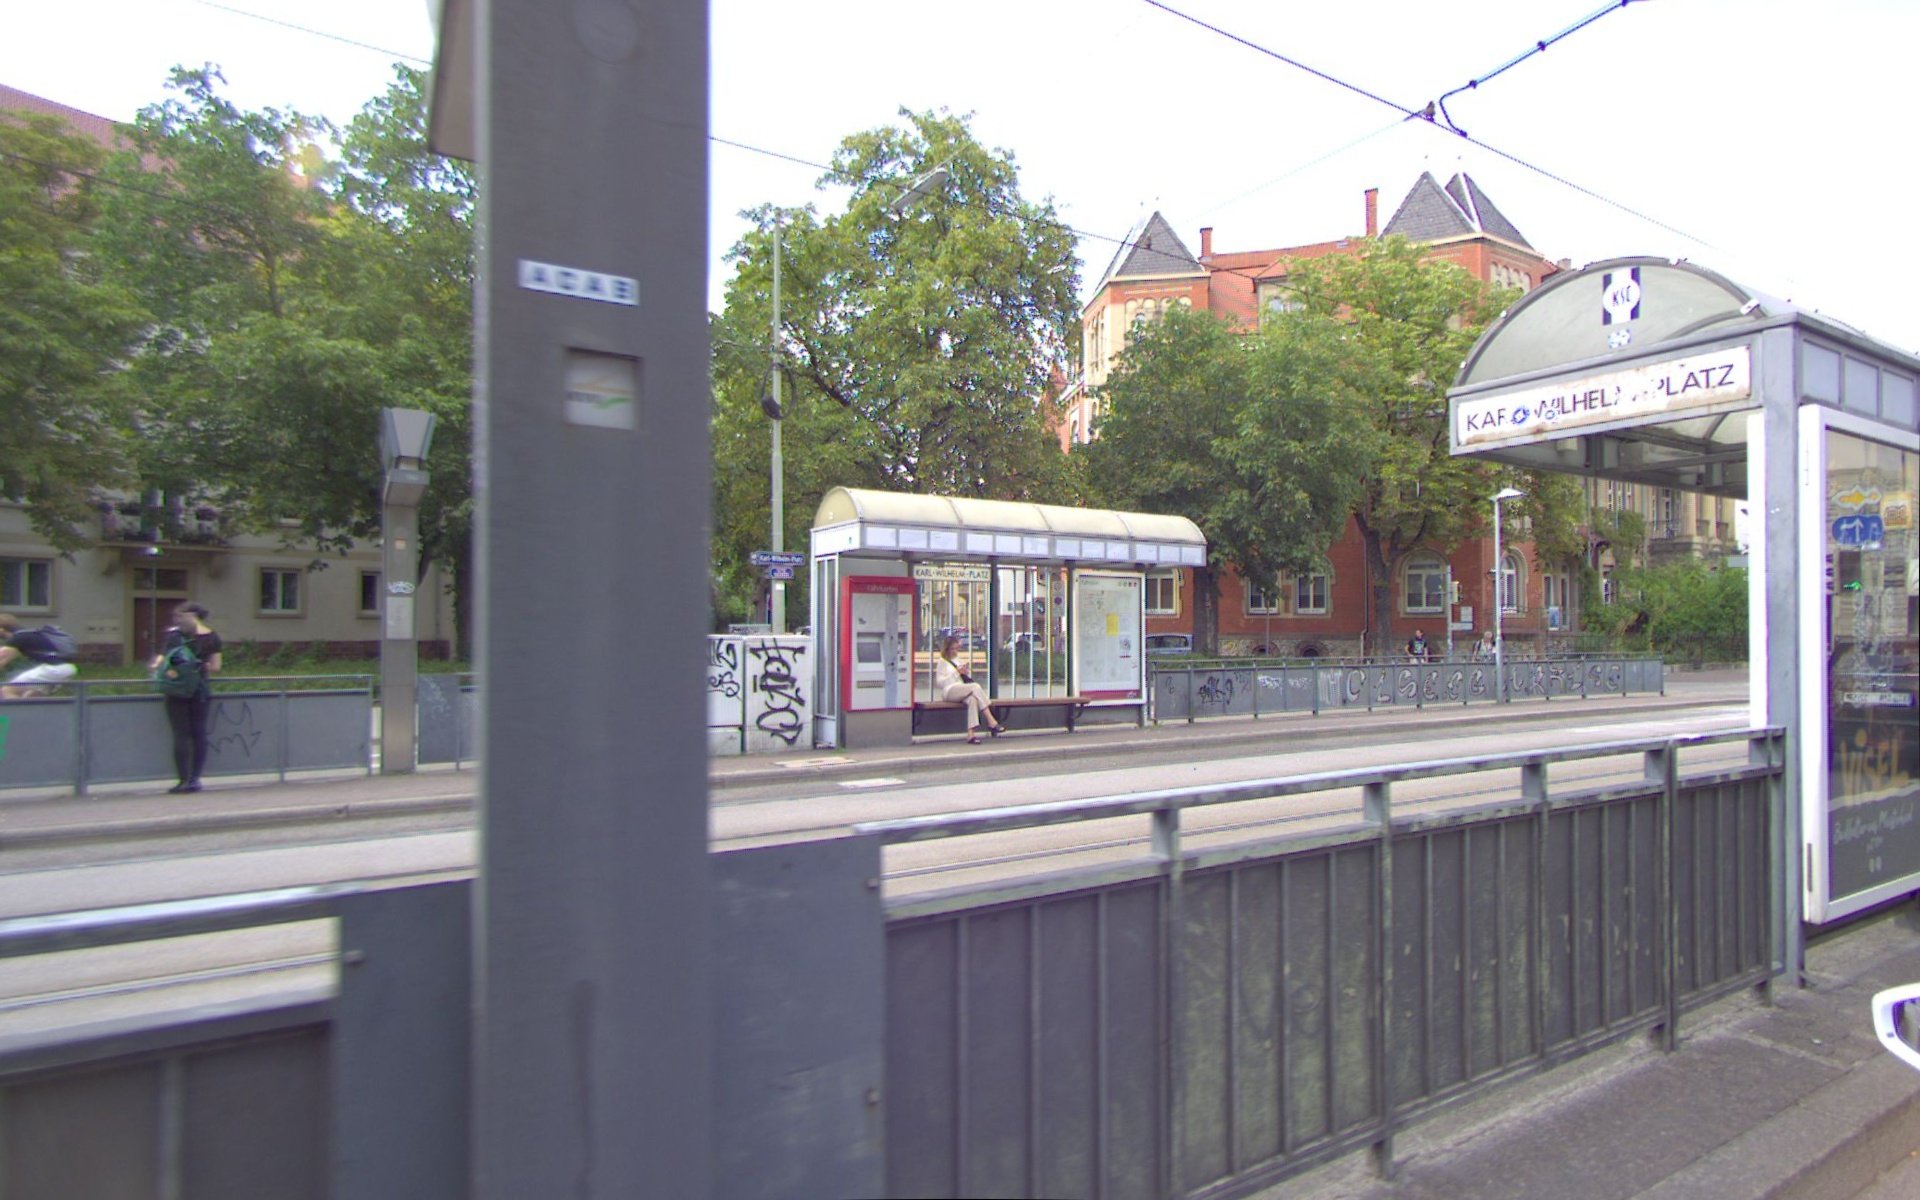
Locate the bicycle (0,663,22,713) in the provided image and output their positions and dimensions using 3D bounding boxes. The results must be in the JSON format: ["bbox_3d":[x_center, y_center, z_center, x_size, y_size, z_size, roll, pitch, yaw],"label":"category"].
[{"bbox_3d":[-19.006,1.702,19.131,0.598,0.949,1.573,-1,-2,31],"label":"bicycle"}]

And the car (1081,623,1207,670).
[{"bbox_3d":[6.586,1.626,35.816,4.260,1.599,2.213,0,-2,15],"label":"car"}]

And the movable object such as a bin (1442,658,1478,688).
[{"bbox_3d":[14.450,2.103,29.042,0.616,0.810,0.723,1,-2,-36],"label":"movable object such as a bin"}]

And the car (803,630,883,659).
[{"bbox_3d":[-5.913,2.219,50.712,3.927,1.413,1.813,0,-2,-9],"label":"car"}]

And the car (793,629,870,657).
[{"bbox_3d":[-6.772,2.263,52.954,3.927,1.413,1.813,0,-2,-9],"label":"car"}]

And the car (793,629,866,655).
[{"bbox_3d":[-7.210,2.315,55.470,3.927,1.413,1.813,0,-2,-9],"label":"car"}]

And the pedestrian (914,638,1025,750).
[{"bbox_3d":[0.111,1.140,12.586,0.976,1.311,1.051,1,-2,-36],"label":"pedestrian"}]

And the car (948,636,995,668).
[{"bbox_3d":[0.520,2.559,49.995,1.782,1.497,3.996,0,-2,-8],"label":"car"}]

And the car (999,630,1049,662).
[{"bbox_3d":[3.169,2.278,50.302,1.782,1.497,3.996,0,-2,-8],"label":"car"}]

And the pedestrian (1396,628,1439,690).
[{"bbox_3d":[12.921,1.644,28.379,0.725,1.725,0.827,1,-2,-36],"label":"pedestrian"}]

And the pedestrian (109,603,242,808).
[{"bbox_3d":[-6.714,0.861,8.649,0.835,1.642,0.846,1,-2,-36],"label":"pedestrian"}]

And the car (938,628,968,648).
[{"bbox_3d":[-0.543,2.797,73.656,1.782,1.413,3.996,0,-2,-8],"label":"car"}]

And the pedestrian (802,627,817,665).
[{"bbox_3d":[-7.058,2.147,47.056,0.671,1.777,0.731,0,-1,-10],"label":"pedestrian"}]

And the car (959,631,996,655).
[{"bbox_3d":[1.073,2.699,63.346,1.782,1.413,3.996,0,-2,-8],"label":"car"}]

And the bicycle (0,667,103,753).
[{"bbox_3d":[-11.260,1.301,11.926,1.532,0.961,0.657,1,-2,-31],"label":"bicycle"}]

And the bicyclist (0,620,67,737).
[{"bbox_3d":[-11.264,0.917,11.936,0.826,1.357,0.657,1,-2,-31],"label":"bicyclist"}]

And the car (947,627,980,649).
[{"bbox_3d":[0.199,2.601,68.815,1.782,1.413,3.996,0,-2,-8],"label":"car"}]

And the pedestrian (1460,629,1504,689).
[{"bbox_3d":[14.894,1.667,28.666,0.737,1.654,0.863,1,-2,-36],"label":"pedestrian"}]

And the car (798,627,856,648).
[{"bbox_3d":[-9.224,2.613,69.623,3.927,1.413,1.813,0,-2,-9],"label":"car"}]
